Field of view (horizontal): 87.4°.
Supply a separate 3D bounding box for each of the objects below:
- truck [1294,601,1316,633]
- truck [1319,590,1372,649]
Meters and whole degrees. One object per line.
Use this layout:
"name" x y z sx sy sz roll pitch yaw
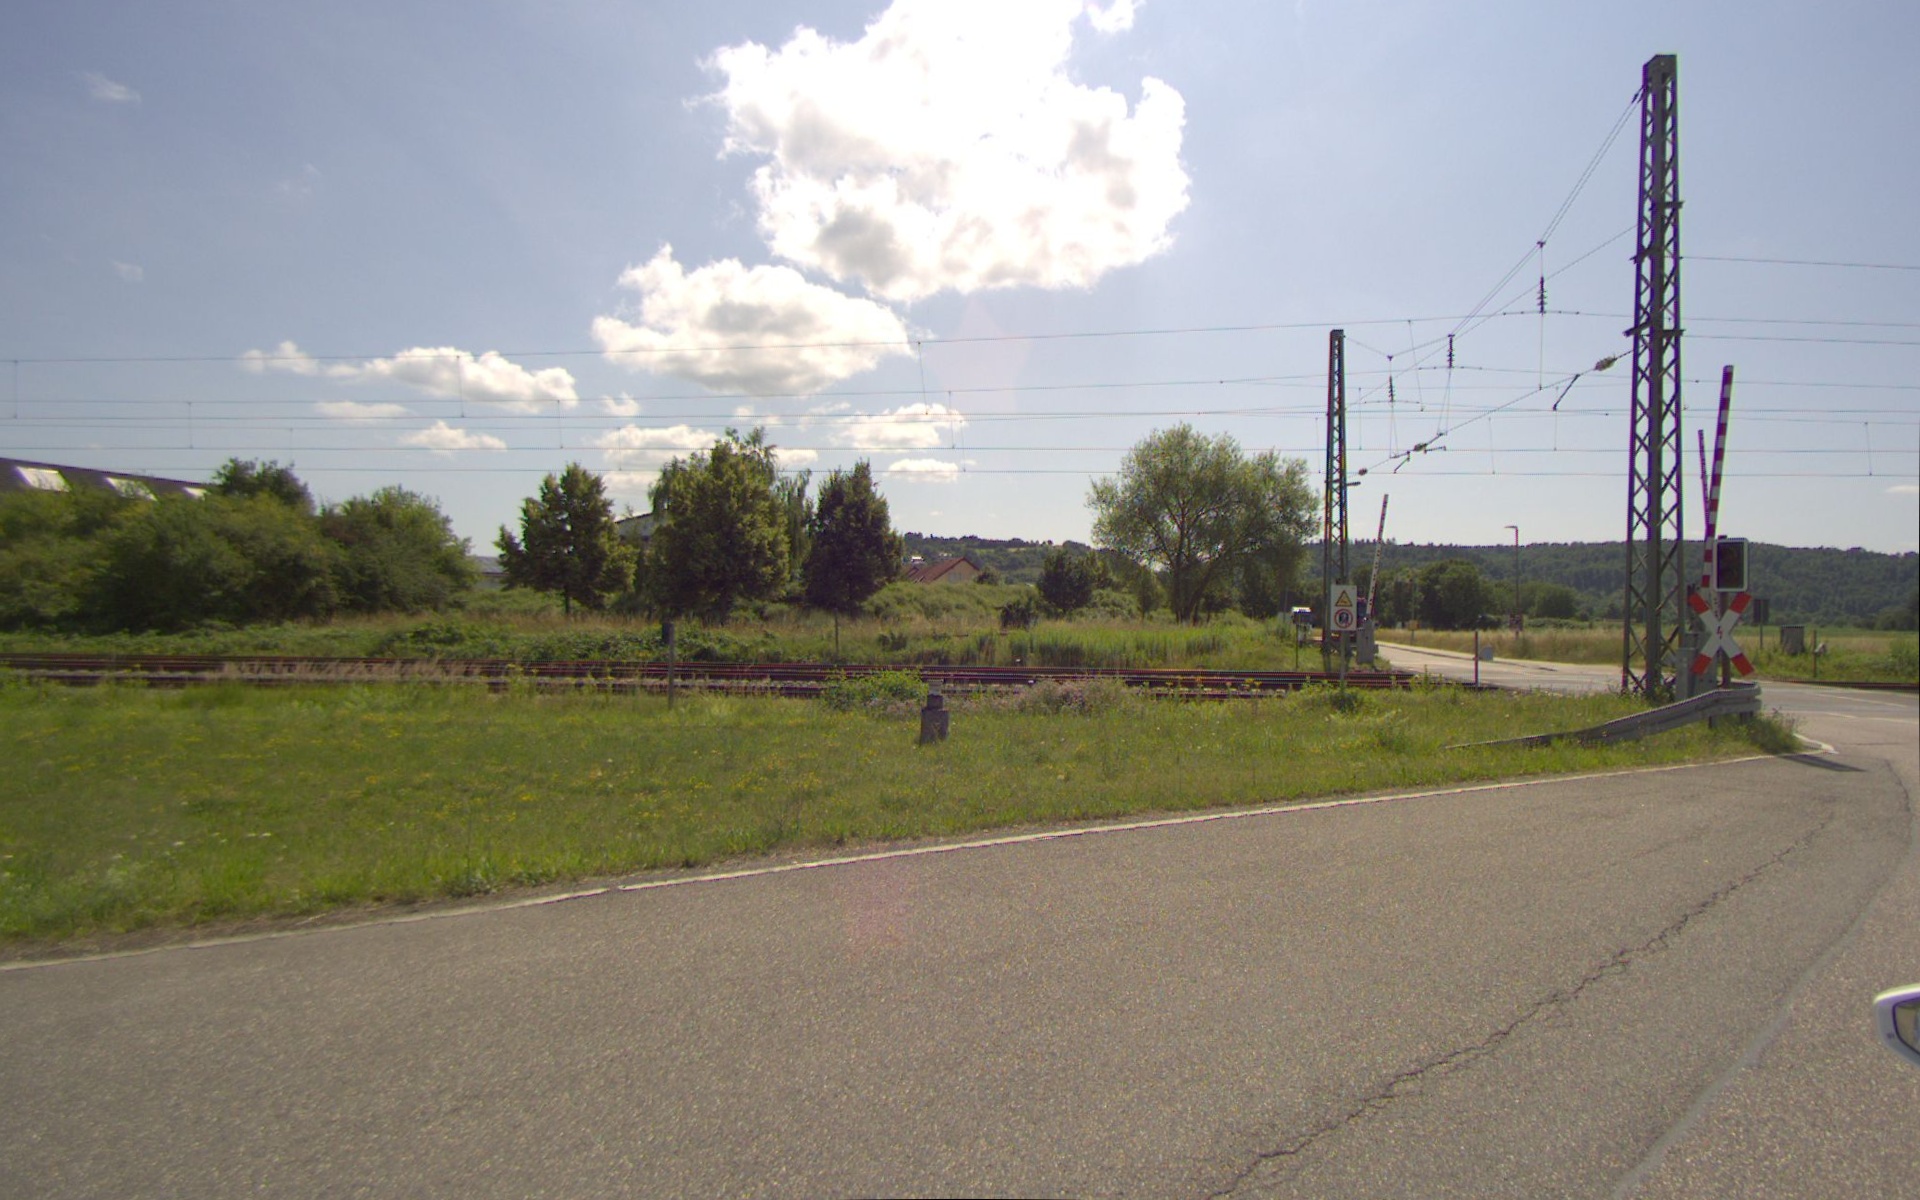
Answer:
"truck" 45.565 2.259 132.656 2.528 4.000 6.041 0 -1 17
"truck" 27.495 1.428 72.031 2.824 3.795 12.152 1 -1 18
